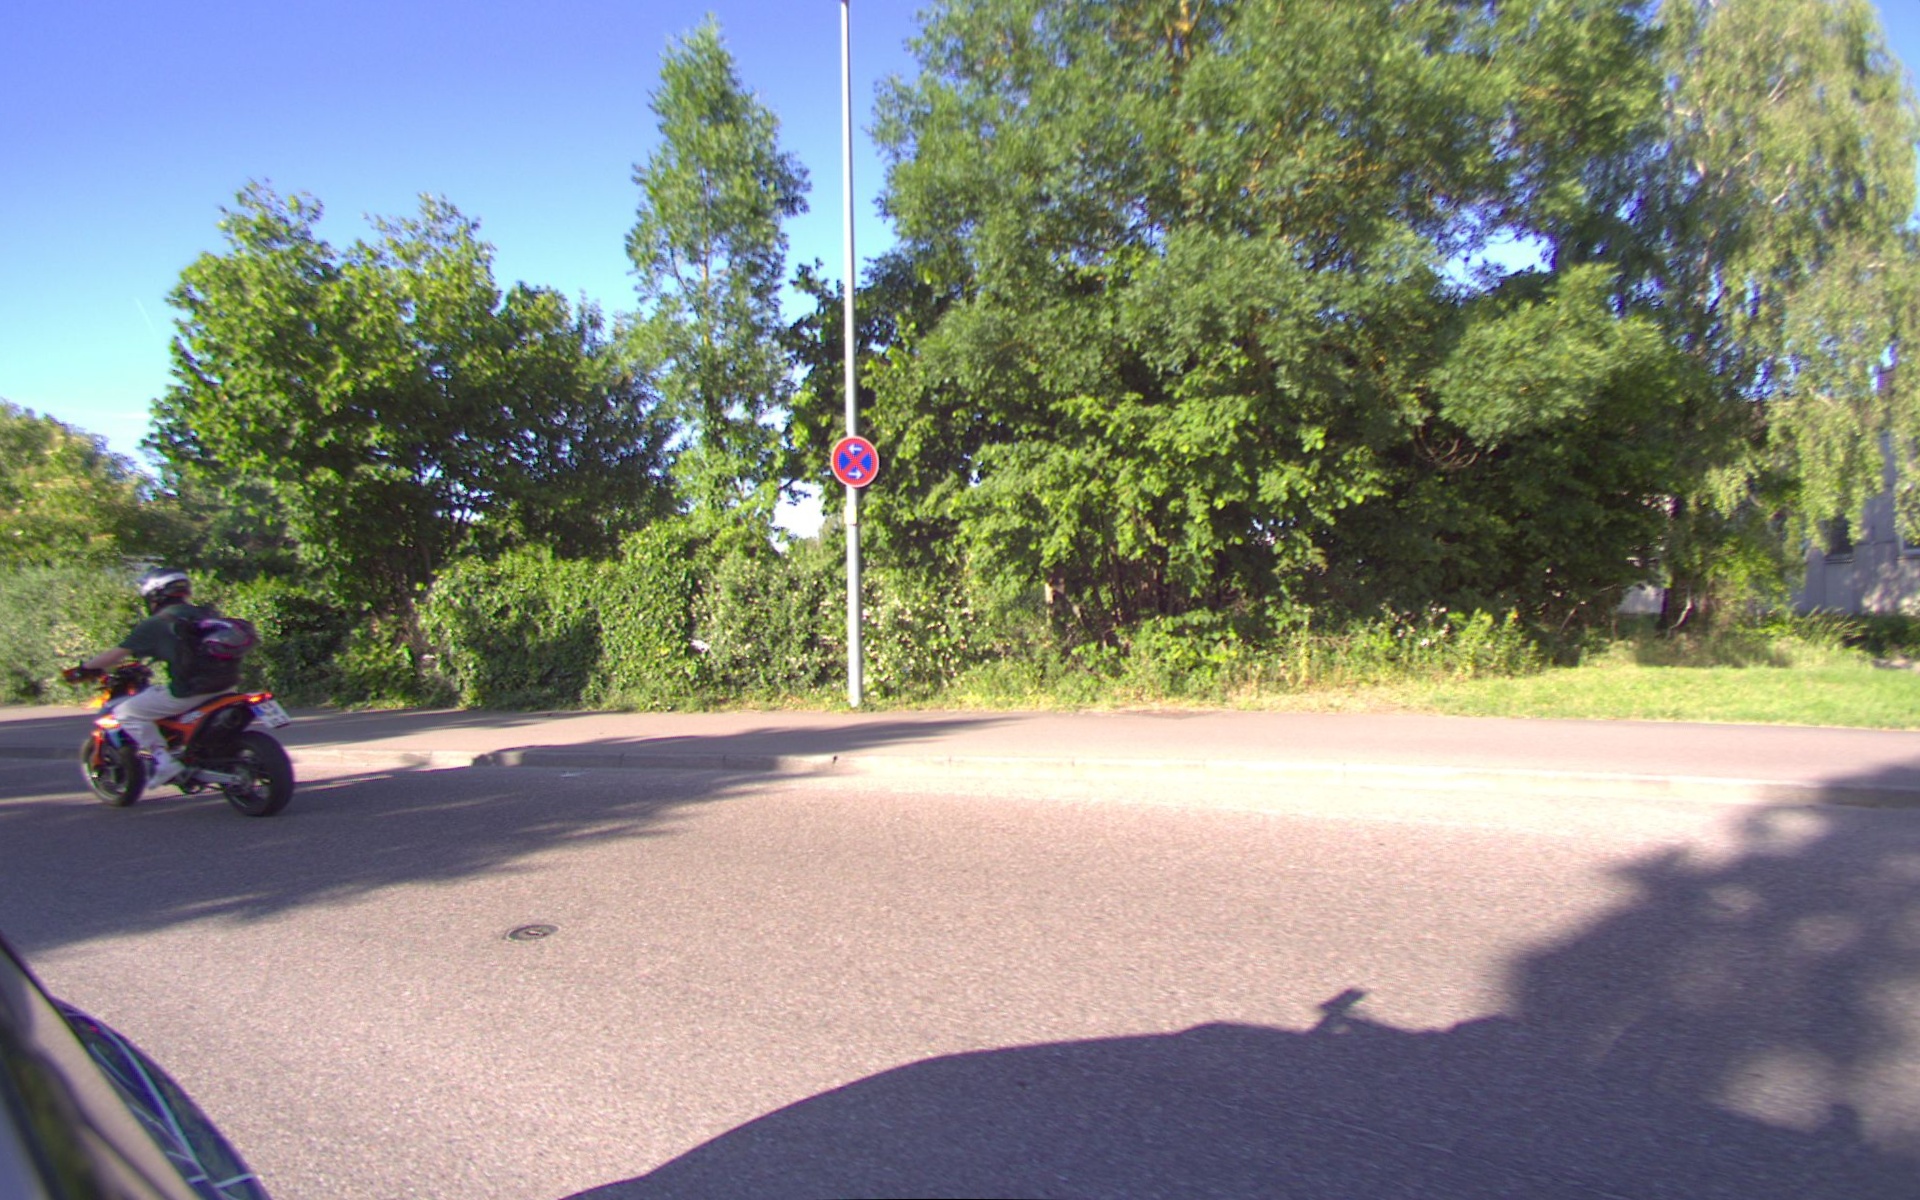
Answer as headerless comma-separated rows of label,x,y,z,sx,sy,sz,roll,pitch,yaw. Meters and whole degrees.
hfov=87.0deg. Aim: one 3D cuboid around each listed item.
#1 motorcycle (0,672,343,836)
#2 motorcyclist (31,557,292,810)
motorcycle,-5.595,1.022,7.074,2.277,0.979,0.832,-1,-1,14
motorcyclist,-5.538,0.551,7.064,1.230,1.623,0.863,-1,-1,14
